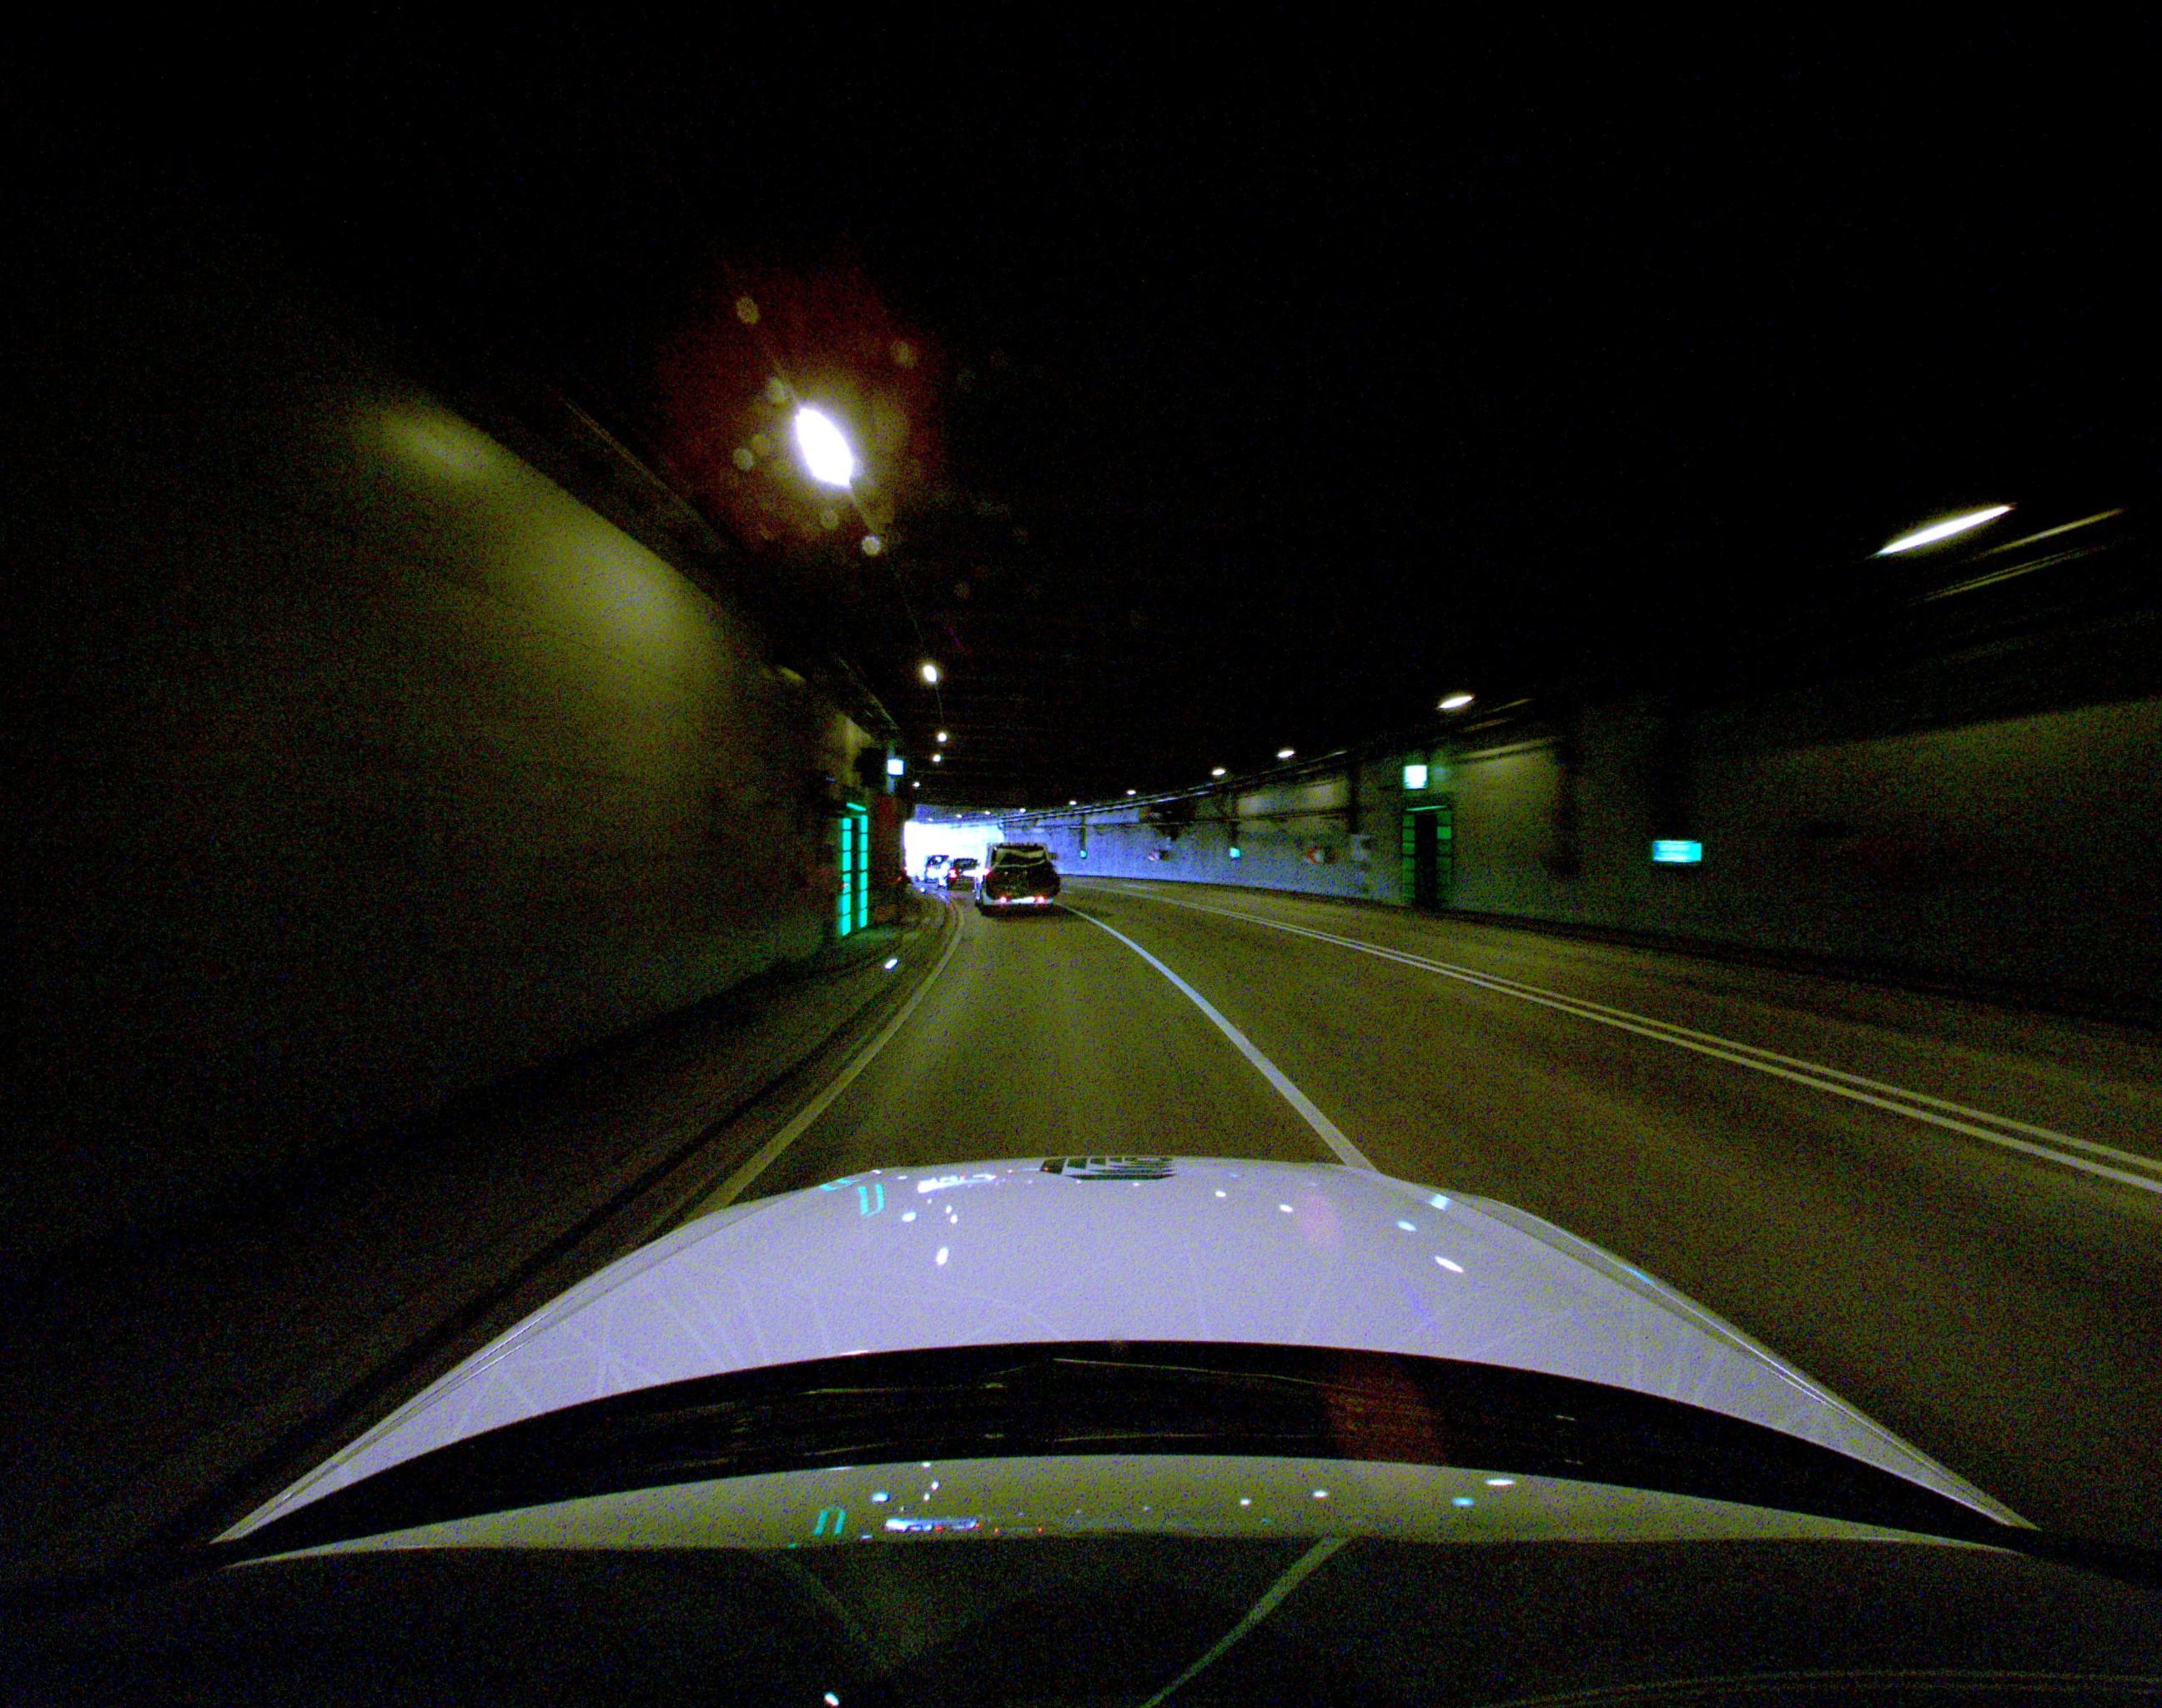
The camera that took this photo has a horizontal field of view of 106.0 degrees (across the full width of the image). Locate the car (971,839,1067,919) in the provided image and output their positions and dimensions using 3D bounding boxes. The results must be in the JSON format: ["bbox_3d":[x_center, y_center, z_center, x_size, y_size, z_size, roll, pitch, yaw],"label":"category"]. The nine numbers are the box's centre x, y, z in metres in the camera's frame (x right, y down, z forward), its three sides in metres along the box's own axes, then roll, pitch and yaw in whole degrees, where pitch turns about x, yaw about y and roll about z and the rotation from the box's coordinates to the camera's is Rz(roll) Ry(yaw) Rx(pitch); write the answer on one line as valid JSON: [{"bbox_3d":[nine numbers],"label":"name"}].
[{"bbox_3d":[-1.809,0.562,21.960,1.994,1.847,5.282,-1,1,-11],"label":"car"}]

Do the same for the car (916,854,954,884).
[{"bbox_3d":[-8.119,0.794,45.078,1.608,1.594,3.334,1,0,-19],"label":"car"}]

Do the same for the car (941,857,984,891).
[{"bbox_3d":[-5.290,0.845,36.131,1.605,1.395,3.262,0,0,-14],"label":"car"}]

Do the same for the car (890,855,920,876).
[{"bbox_3d":[-14.195,0.931,65.651,1.611,1.630,3.326,0,-1,-27],"label":"car"}]
